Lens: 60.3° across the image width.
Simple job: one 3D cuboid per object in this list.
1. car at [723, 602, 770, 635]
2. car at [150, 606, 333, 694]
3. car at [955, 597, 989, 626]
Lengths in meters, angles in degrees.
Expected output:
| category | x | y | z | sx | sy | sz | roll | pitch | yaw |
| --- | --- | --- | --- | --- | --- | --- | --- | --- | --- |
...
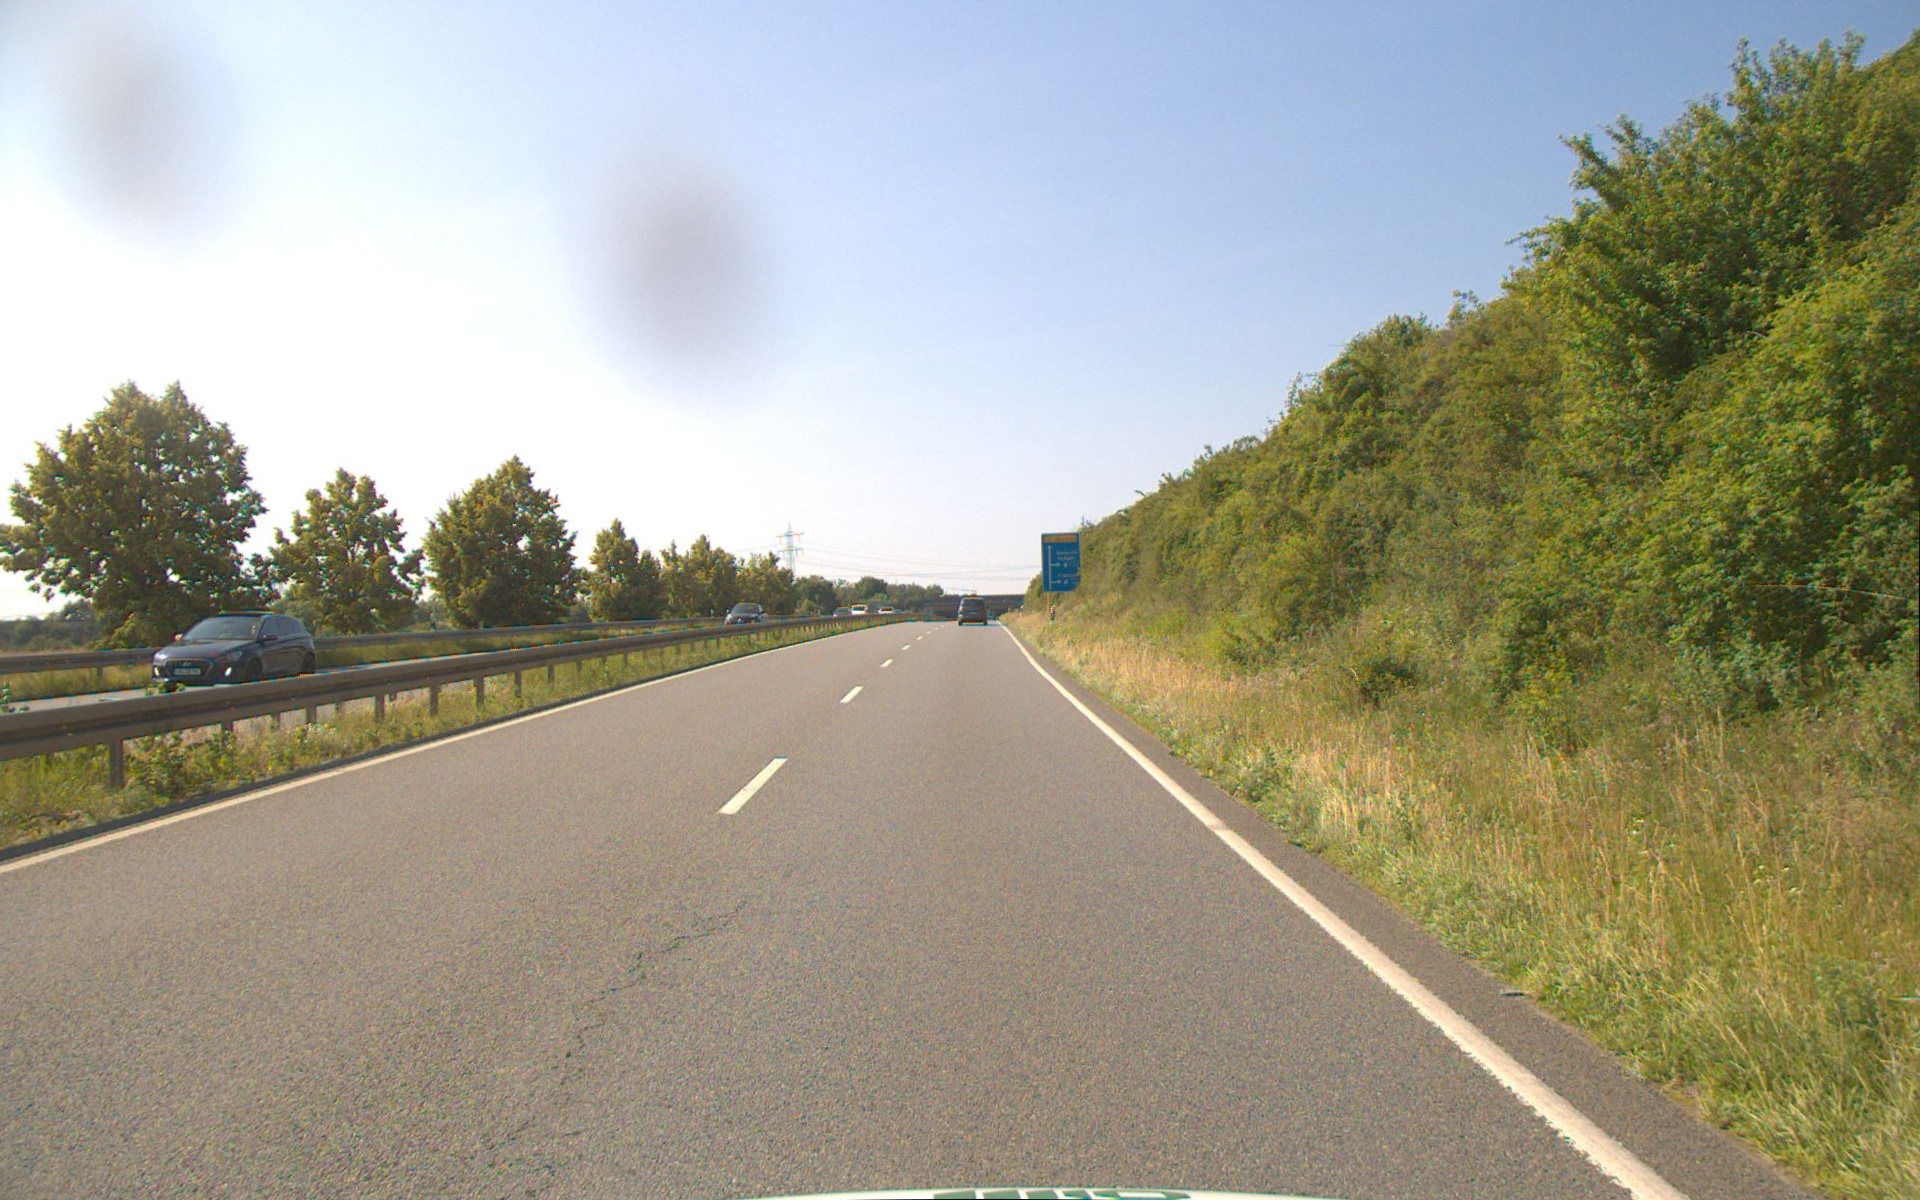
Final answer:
| category | x | y | z | sx | sy | sz | roll | pitch | yaw |
| --- | --- | --- | --- | --- | --- | --- | --- | --- | --- |
| car | -10.688 | 0.885 | 82.898 | 1.655 | 1.568 | 4.244 | -1 | 0 | 2 |
| car | -14.183 | 0.935 | 32.930 | 1.618 | 1.580 | 4.561 | 1 | 0 | 0 |
| car | 0.750 | 0.719 | 100.026 | 1.811 | 1.673 | 4.001 | -1 | -1 | 4 |
